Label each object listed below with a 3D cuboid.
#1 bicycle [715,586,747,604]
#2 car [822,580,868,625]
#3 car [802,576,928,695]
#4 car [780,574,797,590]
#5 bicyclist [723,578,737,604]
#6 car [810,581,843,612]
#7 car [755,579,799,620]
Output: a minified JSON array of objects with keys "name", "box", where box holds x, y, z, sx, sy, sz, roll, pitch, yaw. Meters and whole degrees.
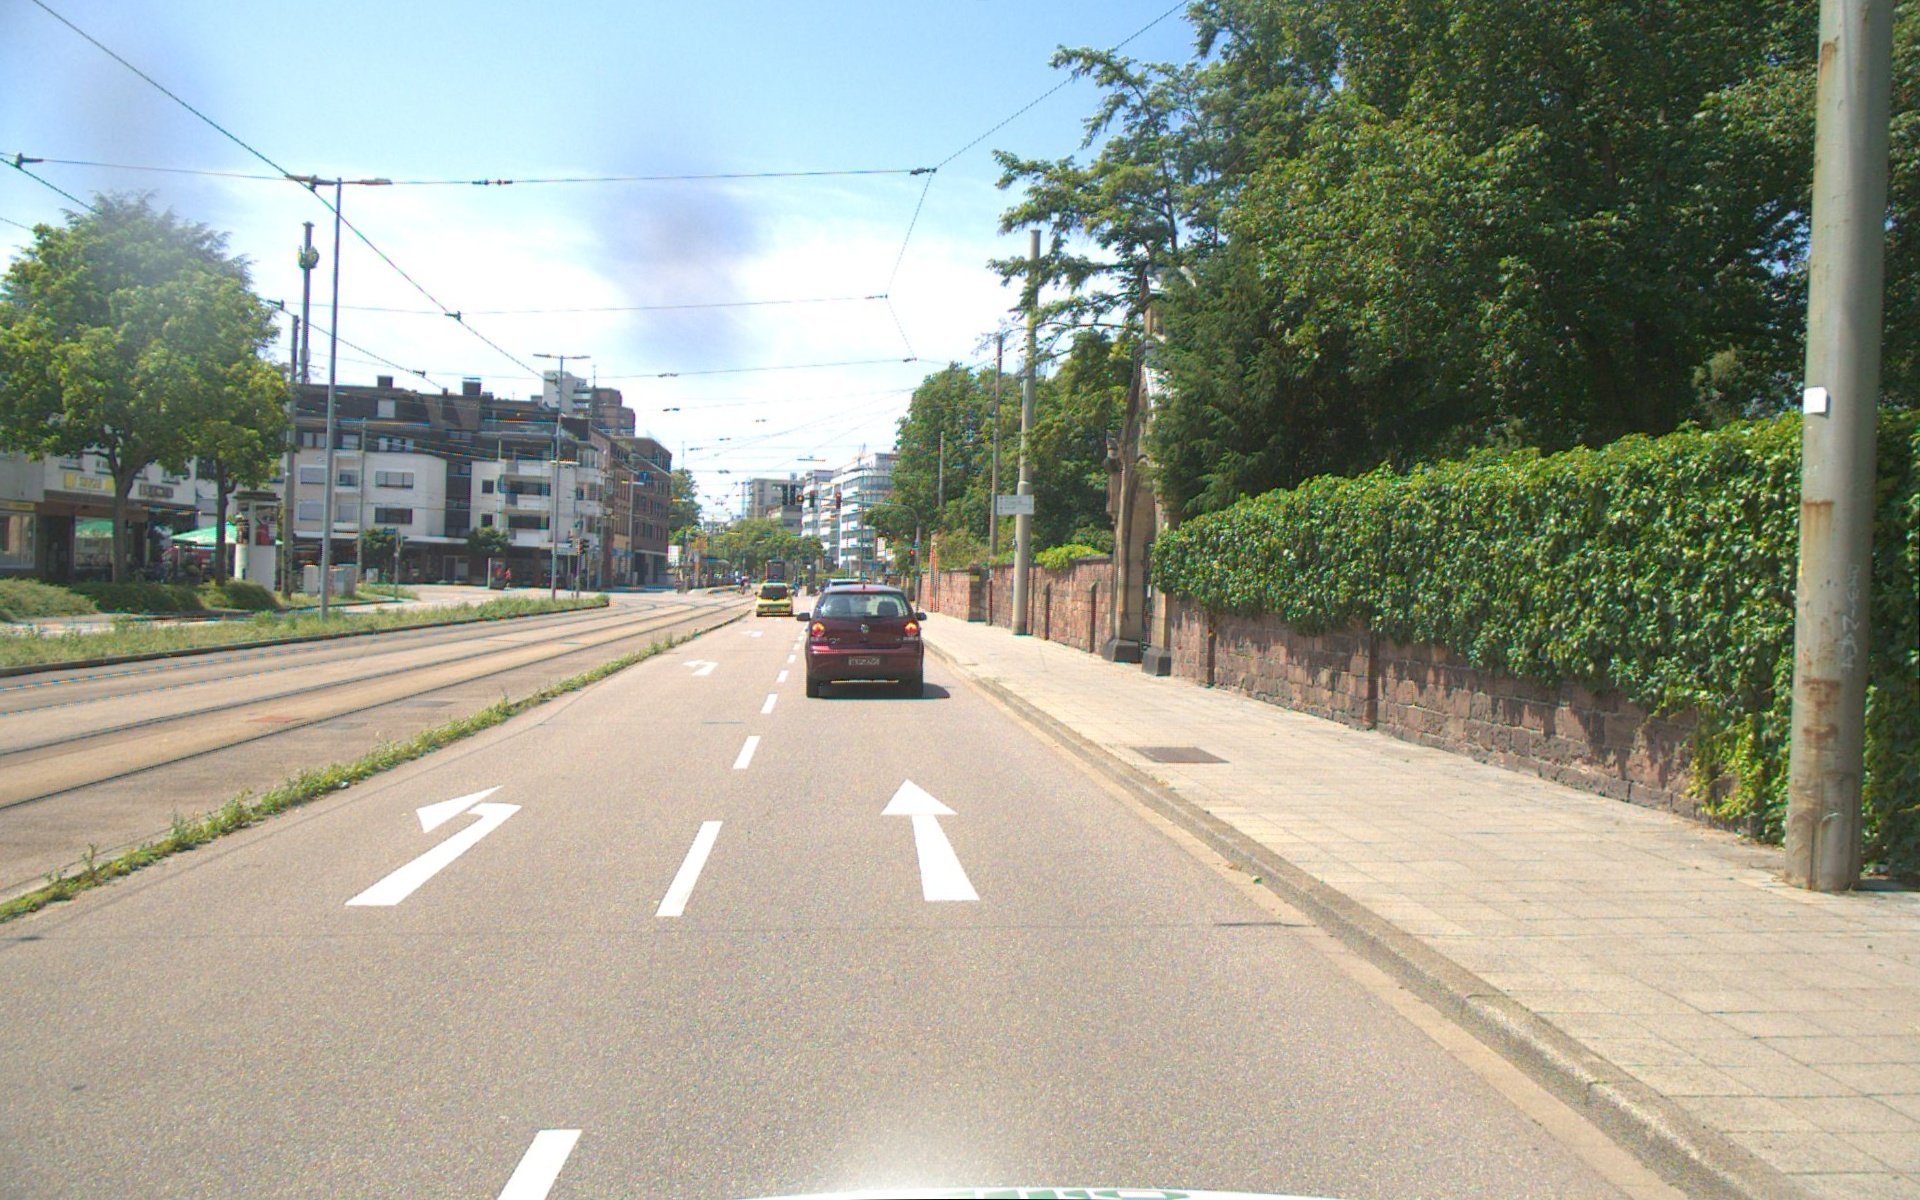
[{"name":"bicycle","box":[-18.922,-0.403,136.626,2.470,1.444,0.634,1,0,-18]},{"name":"car","box":[-4.768,0.087,68.310,1.760,1.712,3.997,3,1,-4]},{"name":"car","box":[-1.420,0.449,23.410,1.579,1.524,3.995,1,0,-6]},{"name":"car","box":[-14.481,-1.534,139.647,1.327,1.274,2.970,3,1,-4]},{"name":"bicyclist","box":[-18.991,-0.776,136.600,0.941,2.128,0.848,1,0,-17]},{"name":"car","box":[-7.669,-0.201,95.213,1.739,1.659,3.997,3,1,-3]},{"name":"car","box":[-8.167,-0.045,74.037,1.760,1.712,3.997,3,1,-4]}]
